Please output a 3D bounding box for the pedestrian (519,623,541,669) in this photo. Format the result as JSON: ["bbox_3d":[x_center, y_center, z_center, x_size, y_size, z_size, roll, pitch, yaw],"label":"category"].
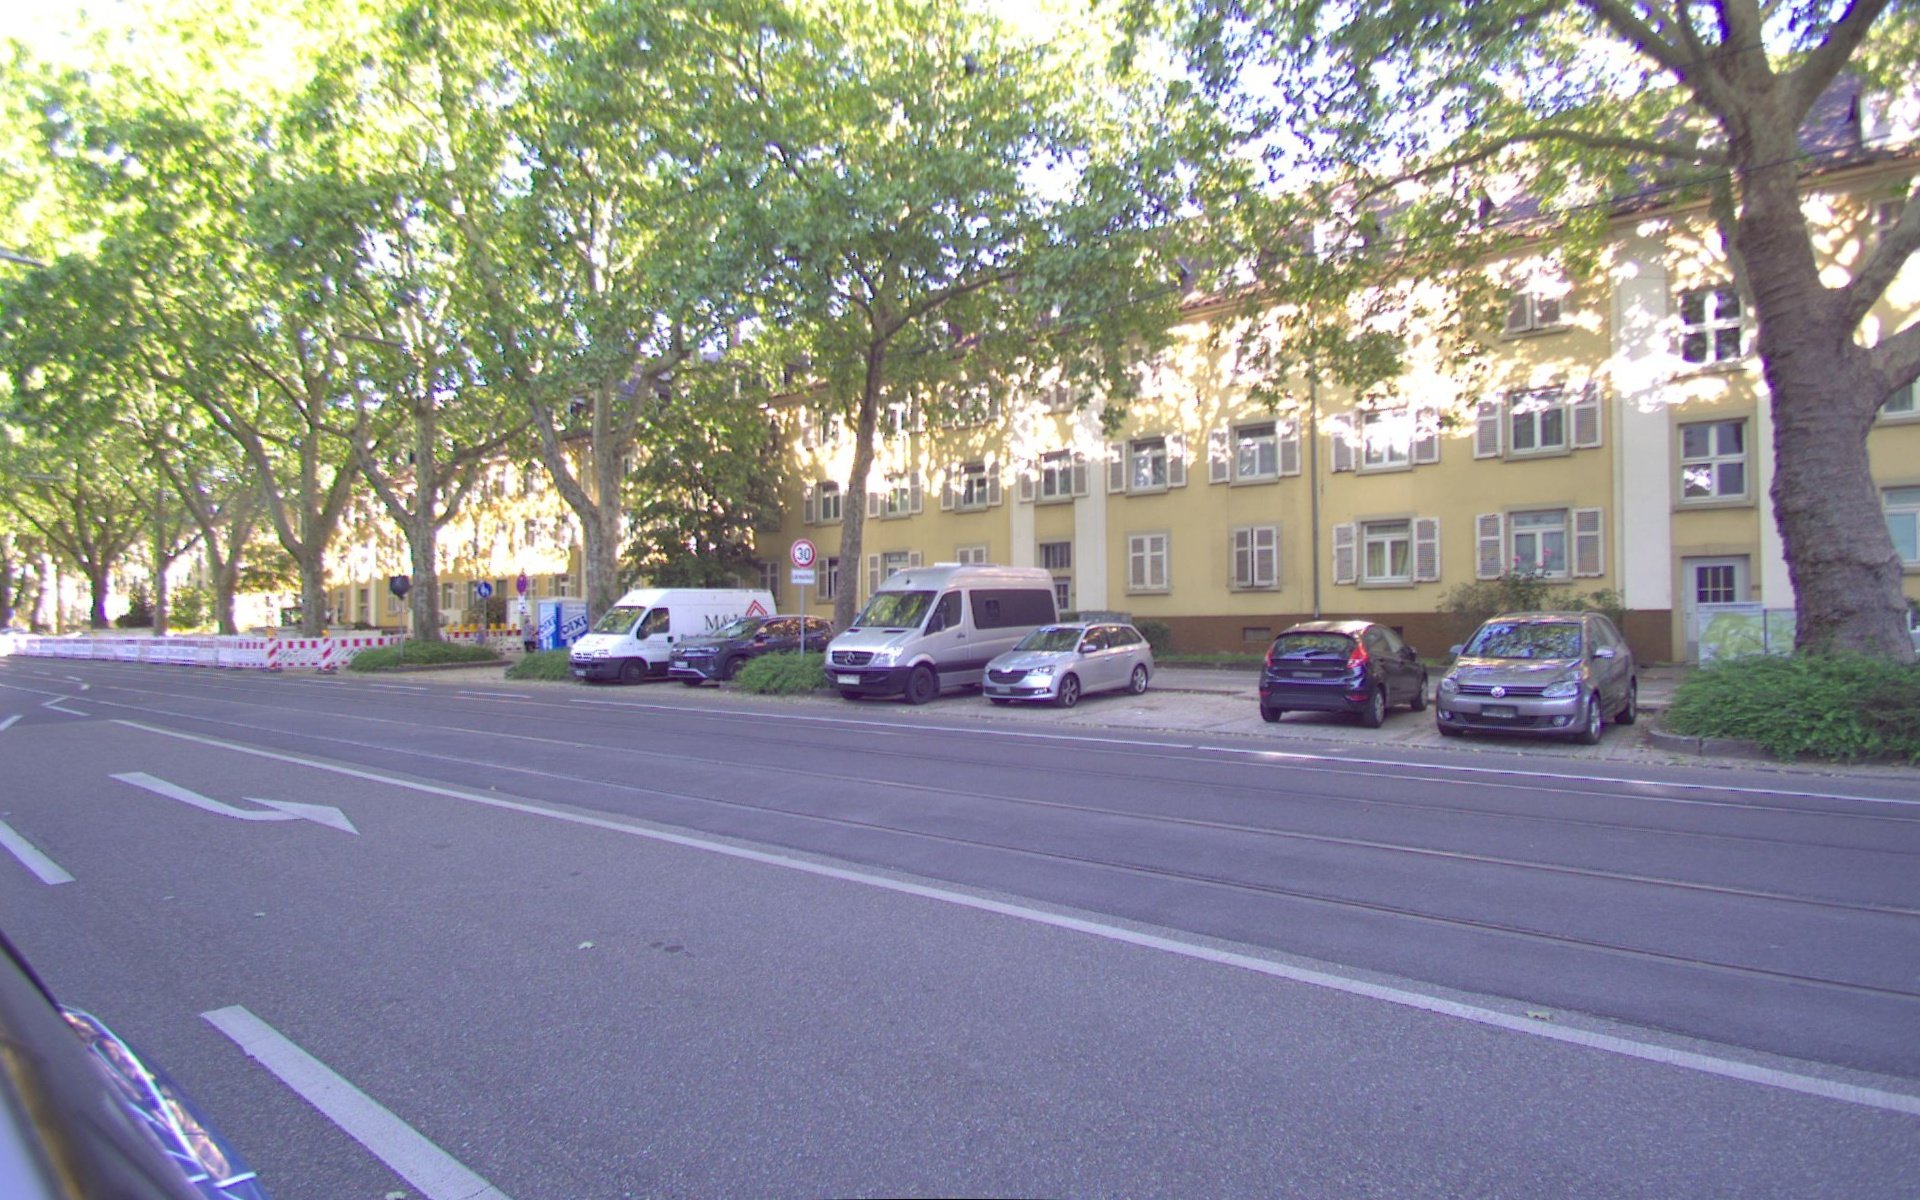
[{"bbox_3d":[-14.948,1.584,35.179,0.587,1.585,0.719,0,-2,-13],"label":"pedestrian"}]

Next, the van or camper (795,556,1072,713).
[{"bbox_3d":[-0.317,0.613,20.493,2.227,2.697,6.052,-2,-1,38],"label":"van or camper"}]

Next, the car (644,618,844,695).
[{"bbox_3d":[-5.091,1.275,24.370,1.967,1.643,4.520,-2,-2,38],"label":"car"}]

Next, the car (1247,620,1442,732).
[{"bbox_3d":[5.905,1.049,15.331,1.740,1.440,3.528,-2,-1,39],"label":"car"}]

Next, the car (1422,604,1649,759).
[{"bbox_3d":[7.736,0.928,13.417,1.814,1.617,4.145,-2,0,41],"label":"car"}]

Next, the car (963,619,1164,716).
[{"bbox_3d":[2.036,1.159,18.908,1.729,1.481,4.102,0,1,40],"label":"car"}]

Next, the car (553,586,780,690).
[{"bbox_3d":[-7.445,0.949,26.289,2.023,2.394,5.543,-2,-2,38],"label":"car"}]

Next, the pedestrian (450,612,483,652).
[{"bbox_3d":[-25.606,1.672,52.509,1.233,2.029,1.085,-2,-2,36],"label":"pedestrian"}]
